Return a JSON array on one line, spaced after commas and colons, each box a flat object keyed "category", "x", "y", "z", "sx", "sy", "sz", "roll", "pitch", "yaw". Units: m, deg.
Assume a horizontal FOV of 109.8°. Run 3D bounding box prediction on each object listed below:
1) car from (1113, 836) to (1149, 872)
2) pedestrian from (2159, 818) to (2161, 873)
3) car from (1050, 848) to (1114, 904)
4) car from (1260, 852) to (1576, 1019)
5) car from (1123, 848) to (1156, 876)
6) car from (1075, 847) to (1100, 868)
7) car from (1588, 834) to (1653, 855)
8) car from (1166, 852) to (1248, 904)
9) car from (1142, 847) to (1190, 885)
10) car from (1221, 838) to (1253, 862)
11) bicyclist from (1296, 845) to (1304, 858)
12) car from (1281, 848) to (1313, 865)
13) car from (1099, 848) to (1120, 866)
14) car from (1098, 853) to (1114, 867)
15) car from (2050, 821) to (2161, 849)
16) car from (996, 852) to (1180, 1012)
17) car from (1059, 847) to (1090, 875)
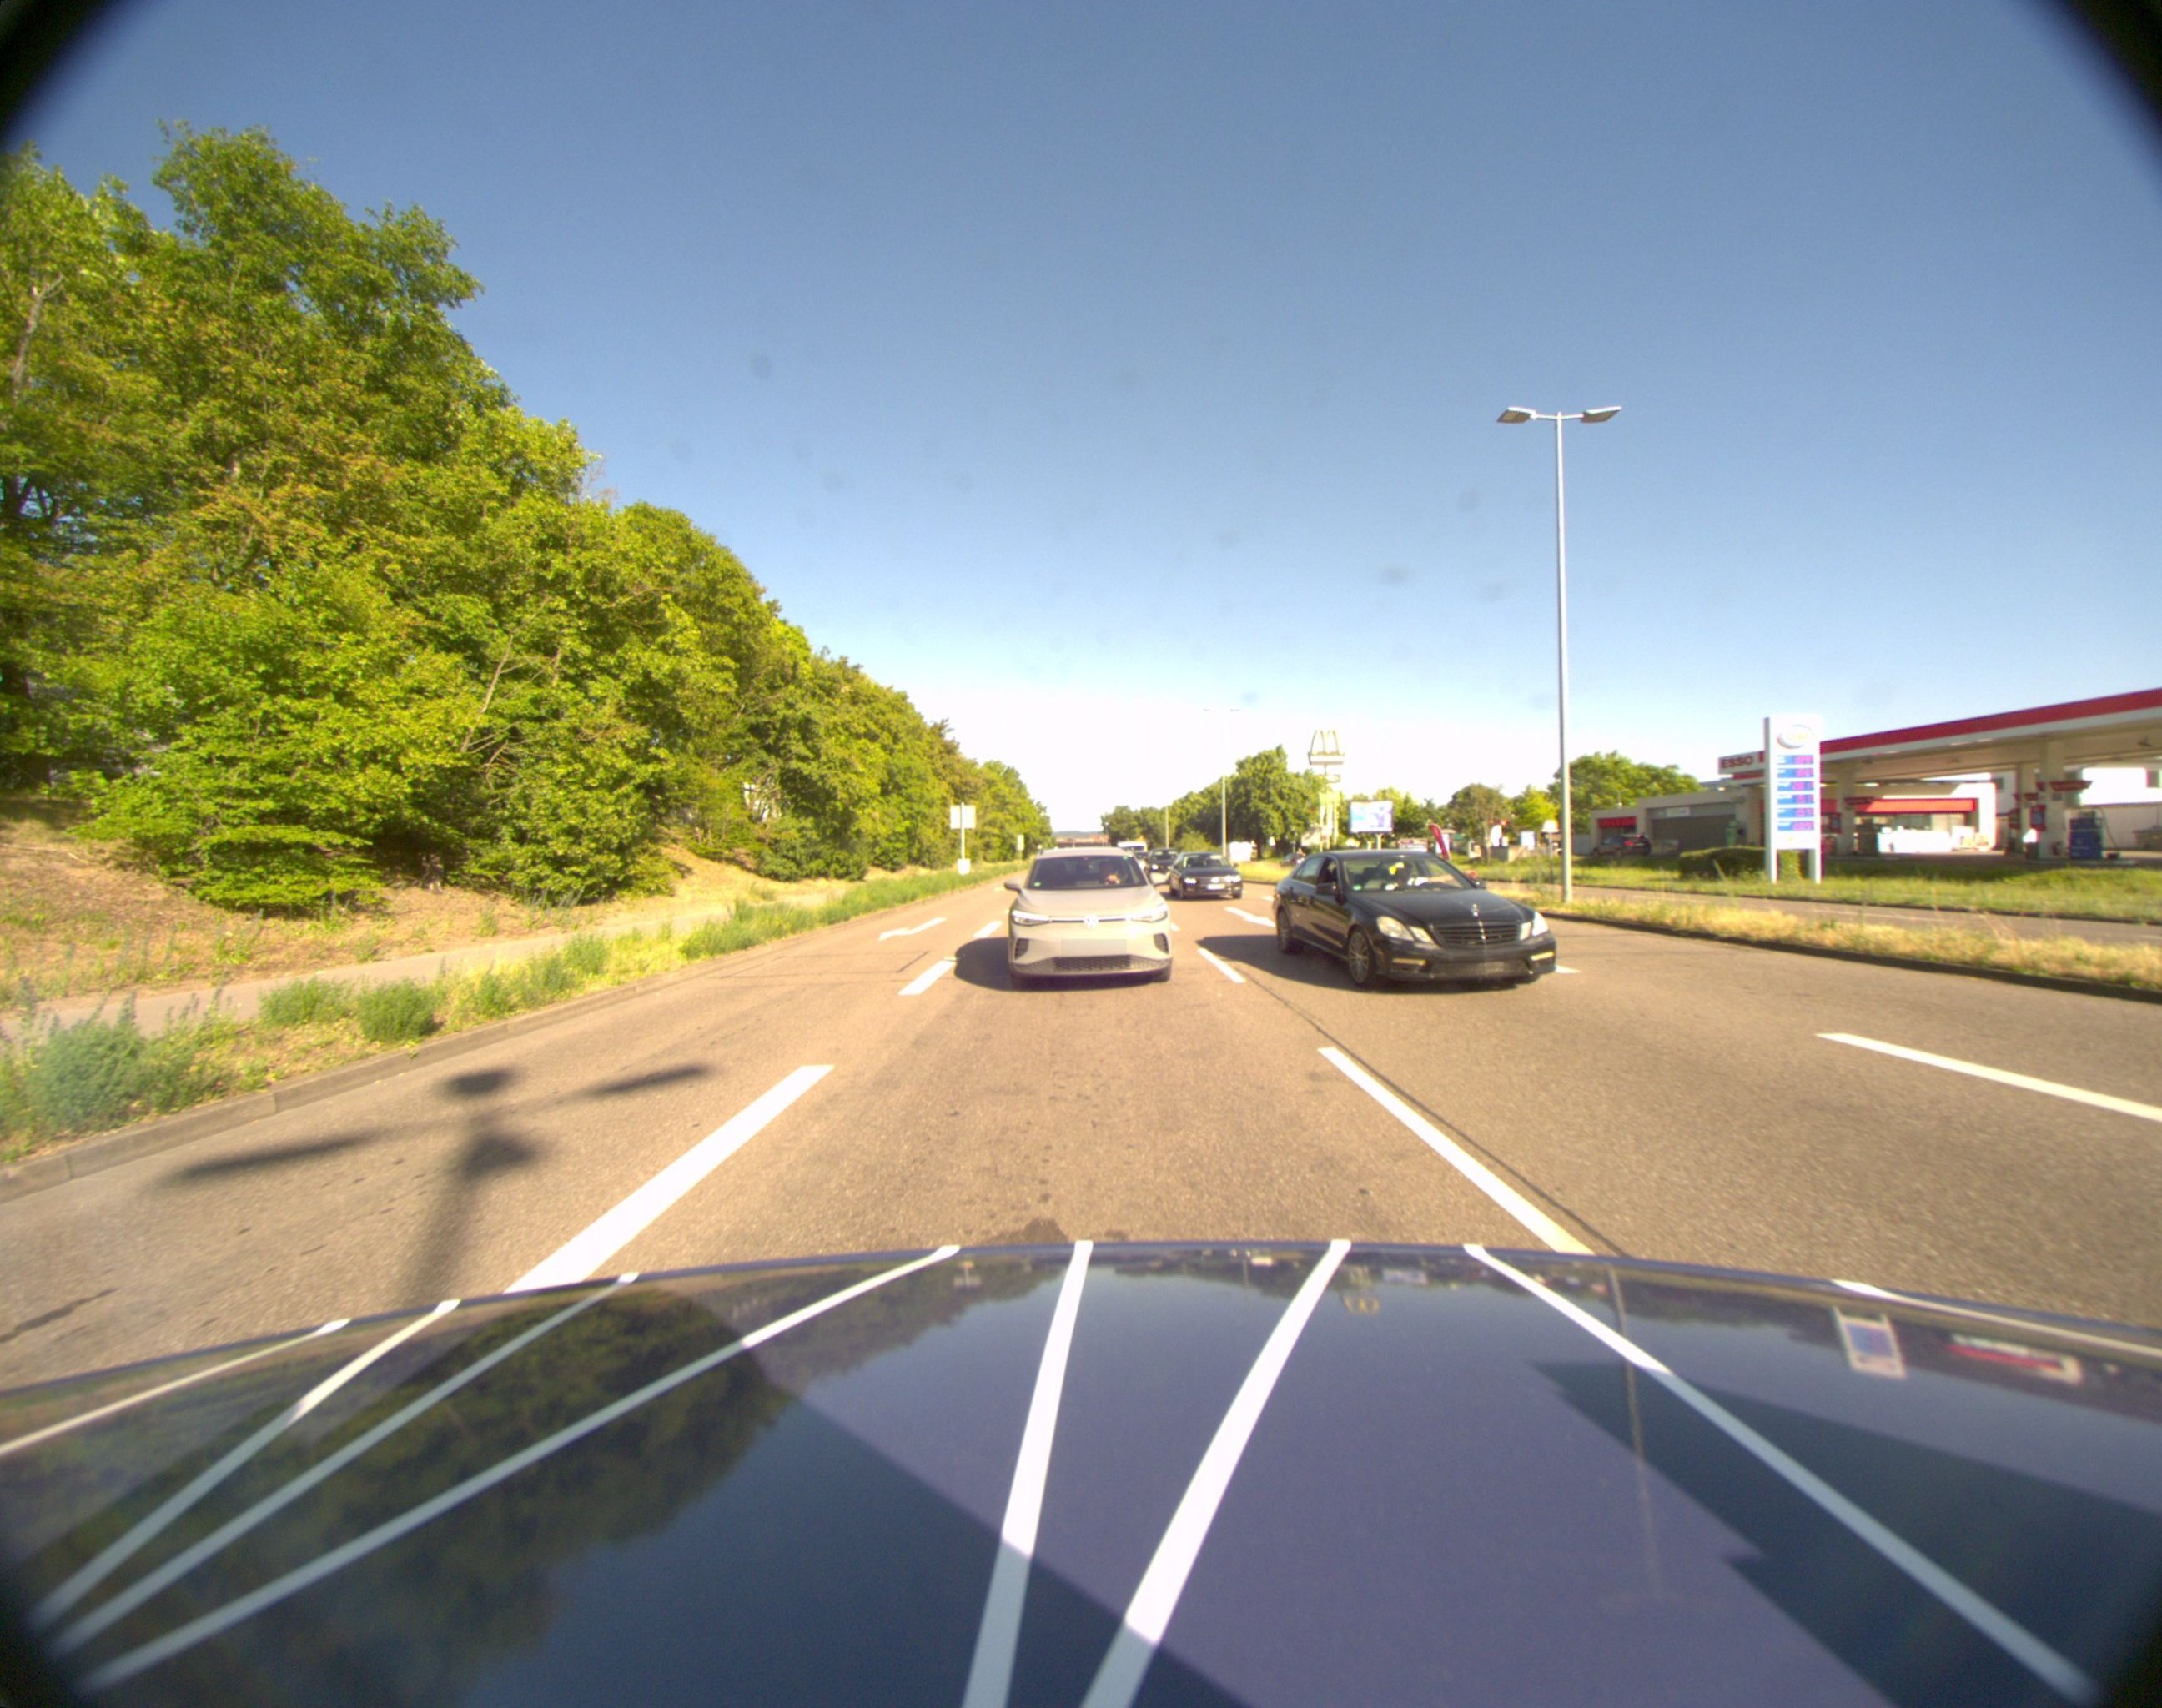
[{"category": "car", "x": 3.551, "y": -0.020, "z": 54.688, "sx": 2.020, "sy": 2.349, "sz": 6.523, "roll": -2, "pitch": 1, "yaw": 0}, {"category": "pedestrian", "x": 34.909, "y": -0.284, "z": 23.861, "sx": 0.790, "sy": 1.740, "sz": 0.904, "roll": -2, "pitch": 2, "yaw": 3}, {"category": "car", "x": 0.009, "y": 0.622, "z": 24.013, "sx": 1.763, "sy": 1.482, "sz": 4.402, "roll": -2, "pitch": 1, "yaw": -1}, {"category": "car", "x": 3.694, "y": 0.762, "z": 9.344, "sx": 1.868, "sy": 1.430, "sz": 4.402, "roll": -2, "pitch": 1, "yaw": -1}, {"category": "car", "x": 3.560, "y": 0.443, "z": 46.532, "sx": 1.635, "sy": 1.547, "sz": 3.776, "roll": -2, "pitch": 1, "yaw": -1}, {"category": "car", "x": 0.480, "y": 0.252, "z": 59.659, "sx": 1.763, "sy": 1.482, "sz": 4.402, "roll": -2, "pitch": 1, "yaw": -1}, {"category": "car", "x": 37.274, "y": -0.650, "z": 52.605, "sx": 1.683, "sy": 1.401, "sz": 3.977, "roll": -1, "pitch": 1, "yaw": -1}, {"category": "car", "x": 3.862, "y": 0.688, "z": 24.051, "sx": 1.797, "sy": 1.419, "sz": 4.286, "roll": -2, "pitch": 1, "yaw": -1}, {"category": "car", "x": 3.883, "y": 0.500, "z": 35.140, "sx": 1.674, "sy": 1.608, "sz": 3.878, "roll": -2, "pitch": 1, "yaw": -1}, {"category": "car", "x": 16.428, "y": -0.463, "z": 80.412, "sx": 2.027, "sy": 2.433, "sz": 5.820, "roll": 2, "pitch": 1, "yaw": -1}, {"category": "bicyclist", "x": 23.574, "y": -0.275, "z": 81.749, "sx": 0.629, "sy": 1.281, "sz": 0.700, "roll": -2, "pitch": 2, "yaw": 1}, {"category": "car", "x": 20.138, "y": 0.224, "z": 71.062, "sx": 1.763, "sy": 1.482, "sz": 4.477, "roll": 2, "pitch": 1, "yaw": 1}, {"category": "car", "x": 2.744, "y": 0.274, "z": 74.344, "sx": 1.763, "sy": 1.607, "sz": 4.402, "roll": -2, "pitch": 1, "yaw": -1}, {"category": "car", "x": 3.050, "y": 0.717, "z": 93.433, "sx": 1.763, "sy": 1.607, "sz": 4.402, "roll": -2, "pitch": 1, "yaw": -1}, {"category": "car", "x": 55.902, "y": -0.993, "z": 41.172, "sx": 1.683, "sy": 1.401, "sz": 3.977, "roll": 1, "pitch": 1, "yaw": -1}, {"category": "car", "x": 0.058, "y": 0.805, "z": 10.108, "sx": 1.862, "sy": 1.574, "sz": 4.402, "roll": -2, "pitch": 1, "yaw": -1}, {"category": "car", "x": -0.390, "y": 0.402, "z": 45.612, "sx": 1.763, "sy": 1.482, "sz": 4.402, "roll": -2, "pitch": 1, "yaw": -1}]
